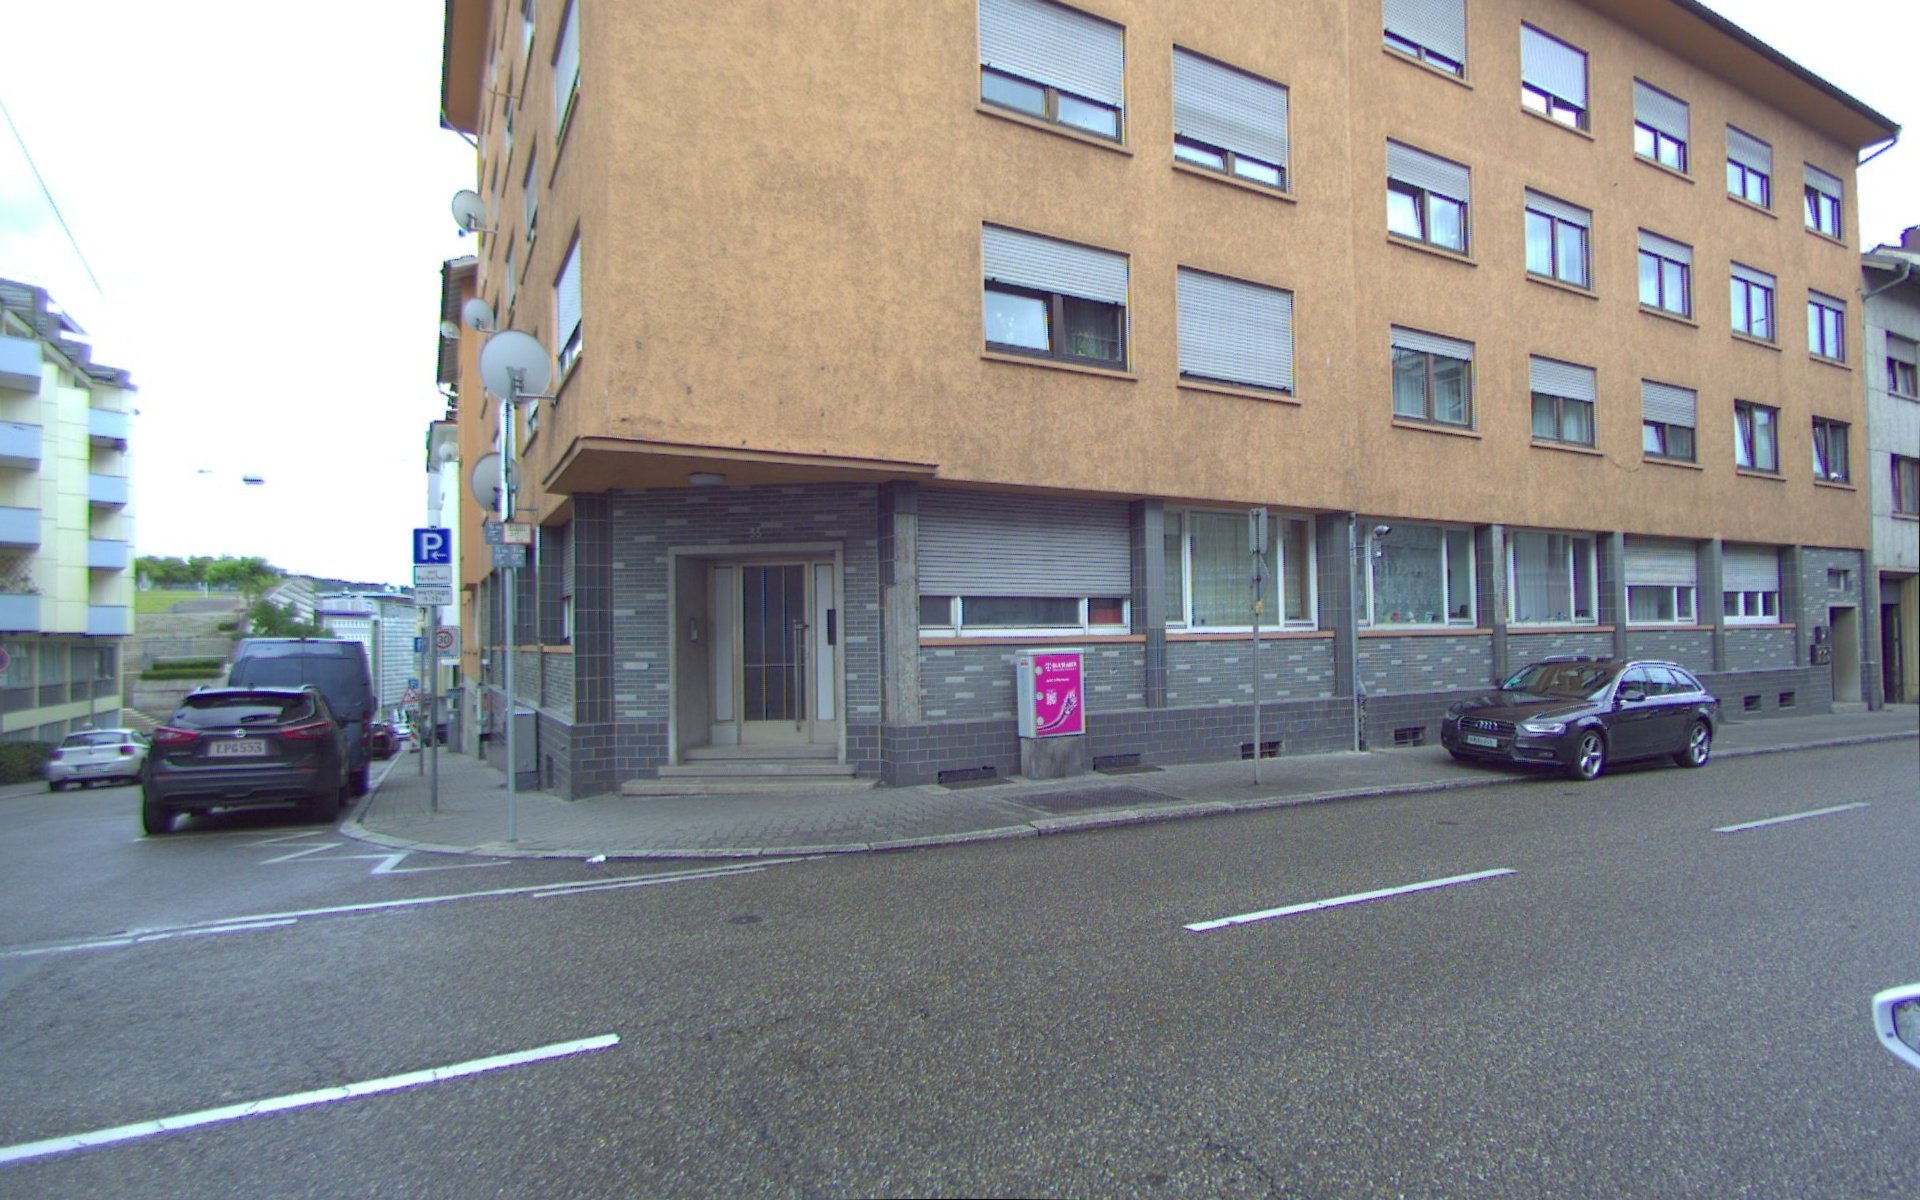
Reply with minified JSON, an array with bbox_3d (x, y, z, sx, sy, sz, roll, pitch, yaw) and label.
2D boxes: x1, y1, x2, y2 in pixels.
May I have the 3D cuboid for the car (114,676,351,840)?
[{"bbox_3d":[-8.643,1.863,12.308,1.820,1.596,4.127,1,-7,-29],"label":"car"}]

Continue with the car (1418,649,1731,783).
[{"bbox_3d":[8.489,1.465,13.783,4.474,1.457,1.786,1,0,-31],"label":"car"}]

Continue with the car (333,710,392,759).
[{"bbox_3d":[-22.803,5.154,38.446,1.796,1.696,4.026,1,-7,-29],"label":"car"}]

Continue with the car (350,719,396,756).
[{"bbox_3d":[-26.432,6.177,45.314,1.702,1.513,4.026,1,-7,-29],"label":"car"}]

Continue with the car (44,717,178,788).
[{"bbox_3d":[-21.573,3.840,25.701,1.819,1.566,3.973,1,-7,-29],"label":"car"}]

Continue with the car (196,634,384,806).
[{"bbox_3d":[-11.563,2.084,17.798,2.223,2.492,6.017,1,-7,-29],"label":"car"}]
